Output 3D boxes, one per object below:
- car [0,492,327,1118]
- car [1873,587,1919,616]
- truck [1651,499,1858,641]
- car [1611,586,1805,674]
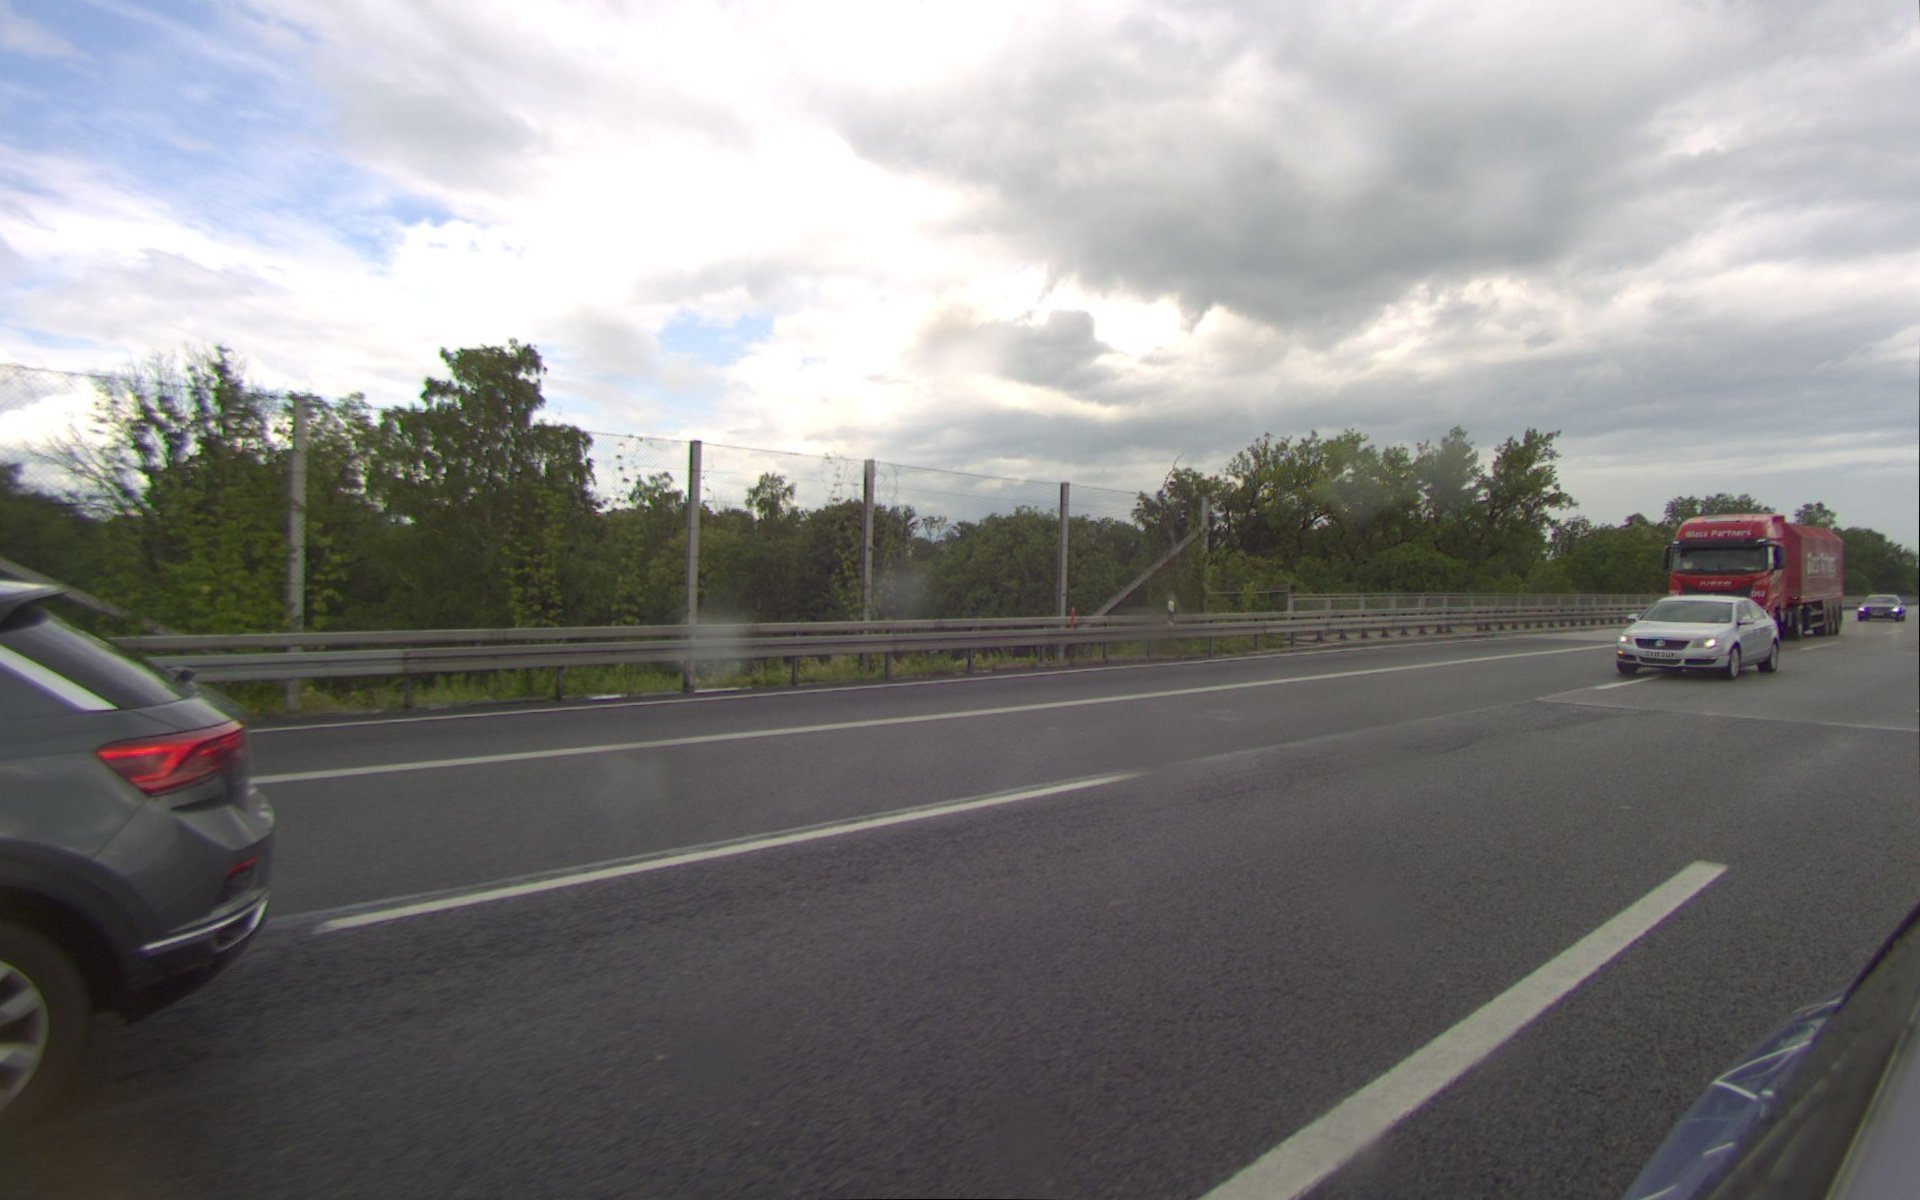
[{"bbox_3d":[-3.852,0.535,2.474,3.658,1.582,1.795,-1,1,-42],"label":"car"},{"bbox_3d":[52.738,0.053,56.881,4.286,1.562,1.816,-1,1,-44],"label":"car"},{"bbox_3d":[27.958,-0.951,35.085,15.369,4.053,3.157,-1,1,-42],"label":"truck"},{"bbox_3d":[13.988,0.466,18.857,4.169,1.465,1.898,-1,1,-38],"label":"car"}]
